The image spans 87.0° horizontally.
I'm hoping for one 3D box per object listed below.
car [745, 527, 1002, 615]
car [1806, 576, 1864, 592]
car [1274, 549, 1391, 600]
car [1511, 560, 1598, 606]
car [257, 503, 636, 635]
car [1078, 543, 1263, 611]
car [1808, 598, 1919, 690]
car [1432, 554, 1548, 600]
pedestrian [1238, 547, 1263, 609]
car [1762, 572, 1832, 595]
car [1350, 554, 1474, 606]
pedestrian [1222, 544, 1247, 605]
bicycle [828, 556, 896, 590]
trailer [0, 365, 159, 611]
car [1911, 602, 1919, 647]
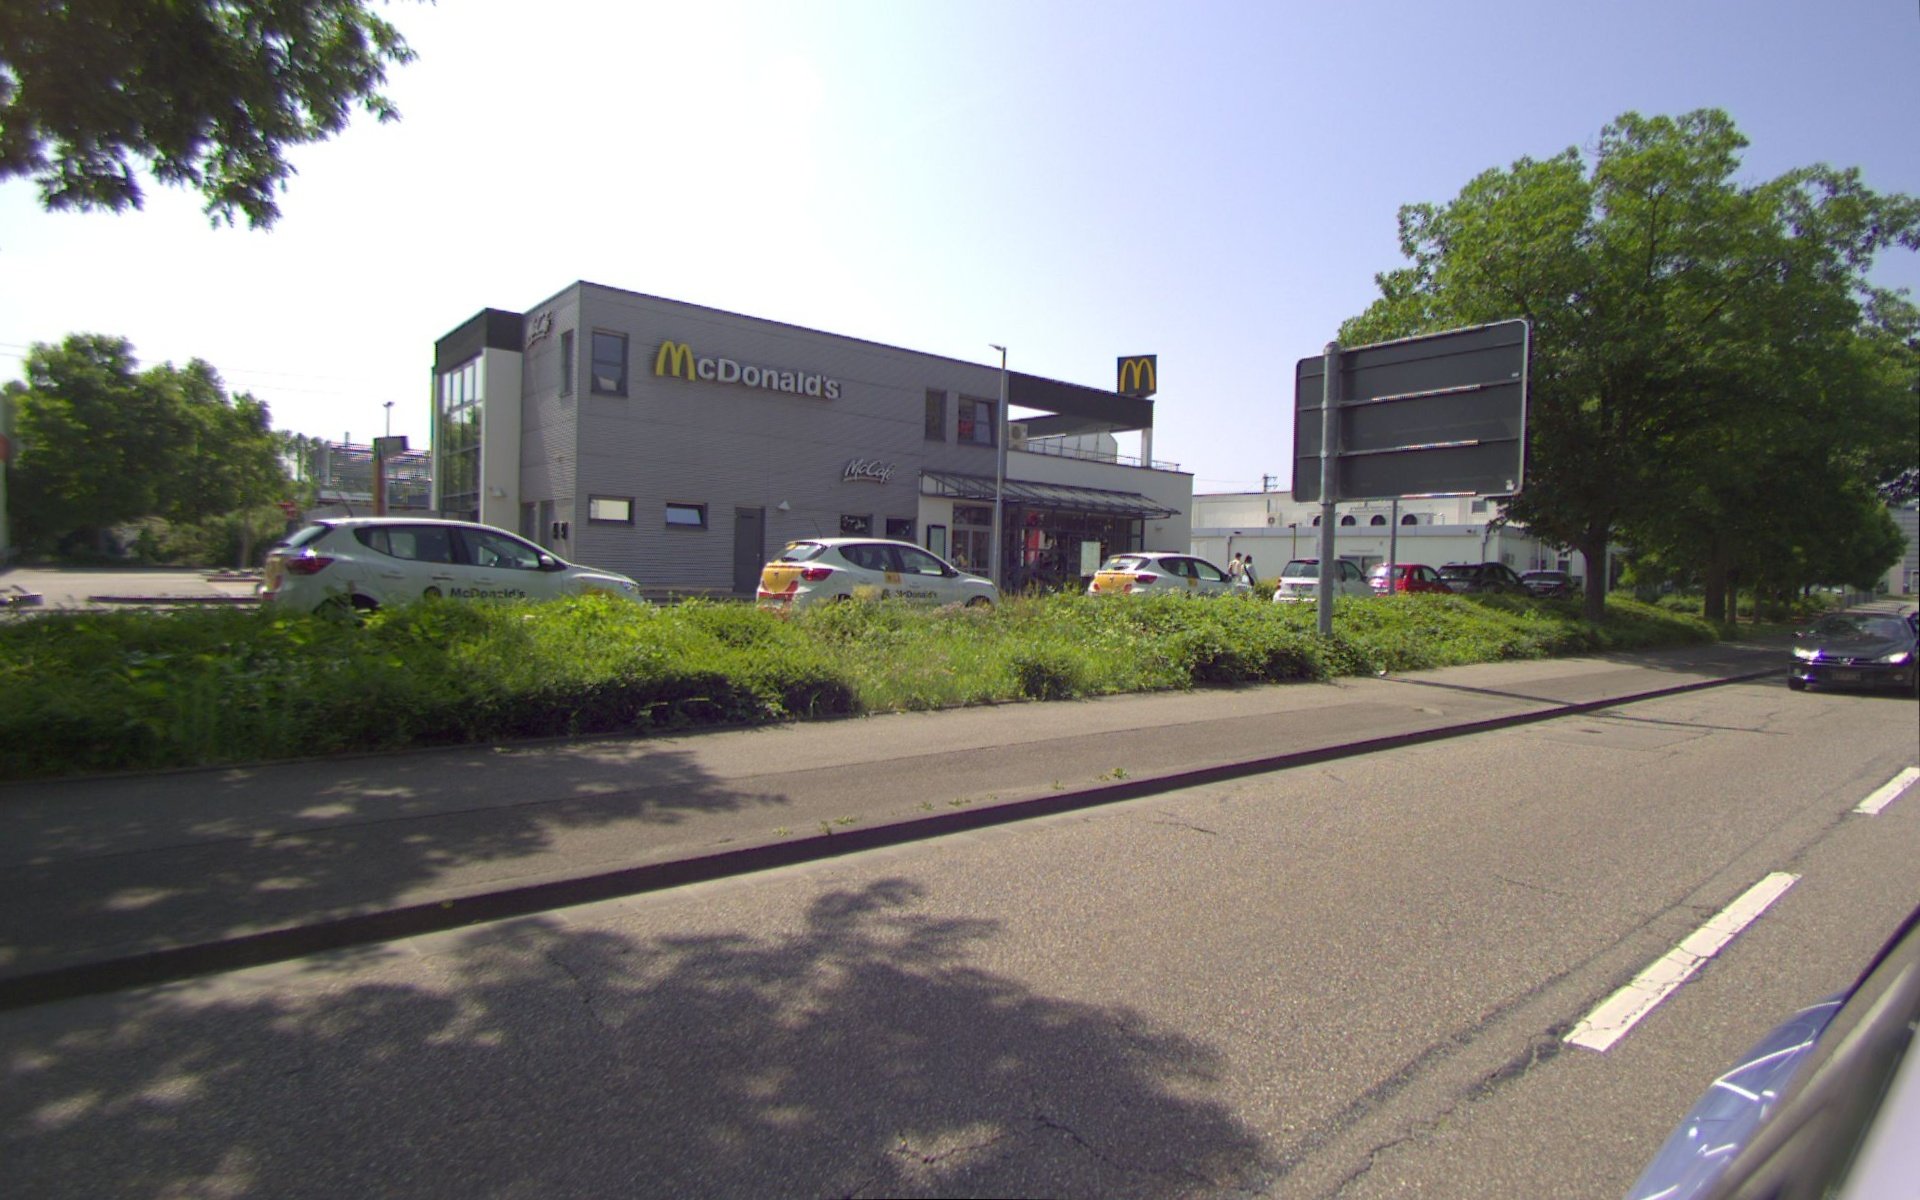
[{"bbox_3d":[-1.245,-0.434,15.378,3.673,1.172,1.596,-1,2,-41],"label":"car"},{"bbox_3d":[93.152,-1.686,107.790,1.670,1.523,4.580,-1,3,-45],"label":"car"},{"bbox_3d":[8.934,-0.615,24.194,2.807,1.136,1.509,-1,2,-42],"label":"car"},{"bbox_3d":[20.562,-0.600,34.890,1.902,1.469,5.525,1,2,38],"label":"car"},{"bbox_3d":[-5.729,-0.340,11.513,3.568,1.268,1.621,-1,2,-42],"label":"car"},{"bbox_3d":[4.347,-0.480,20.719,3.795,1.268,1.624,-1,2,-37],"label":"car"},{"bbox_3d":[15.933,0.693,17.545,1.637,1.373,3.444,2,2,44],"label":"car"},{"bbox_3d":[15.792,-0.677,30.084,4.125,1.268,1.622,-1,0,-40],"label":"car"},{"bbox_3d":[9.223,-0.687,32.118,0.525,1.945,0.467,0,2,-41],"label":"pedestrian"},{"bbox_3d":[75.463,-1.503,91.257,1.797,1.948,4.622,0,3,-43],"label":"car"},{"bbox_3d":[11.948,-0.541,26.650,3.699,1.268,1.621,-1,2,-42],"label":"car"},{"bbox_3d":[8.820,-0.826,32.556,0.401,1.945,0.583,1,2,-40],"label":"pedestrian"},{"bbox_3d":[-2.940,-0.805,30.538,2.064,0.992,0.590,0,2,-39],"label":"bicycle"},{"bbox_3d":[-9.942,-0.976,8.182,5.383,2.081,1.705,0,1,-38],"label":"trailer"},{"bbox_3d":[31.823,0.778,32.593,1.707,1.340,3.894,1,2,43],"label":"car"}]
